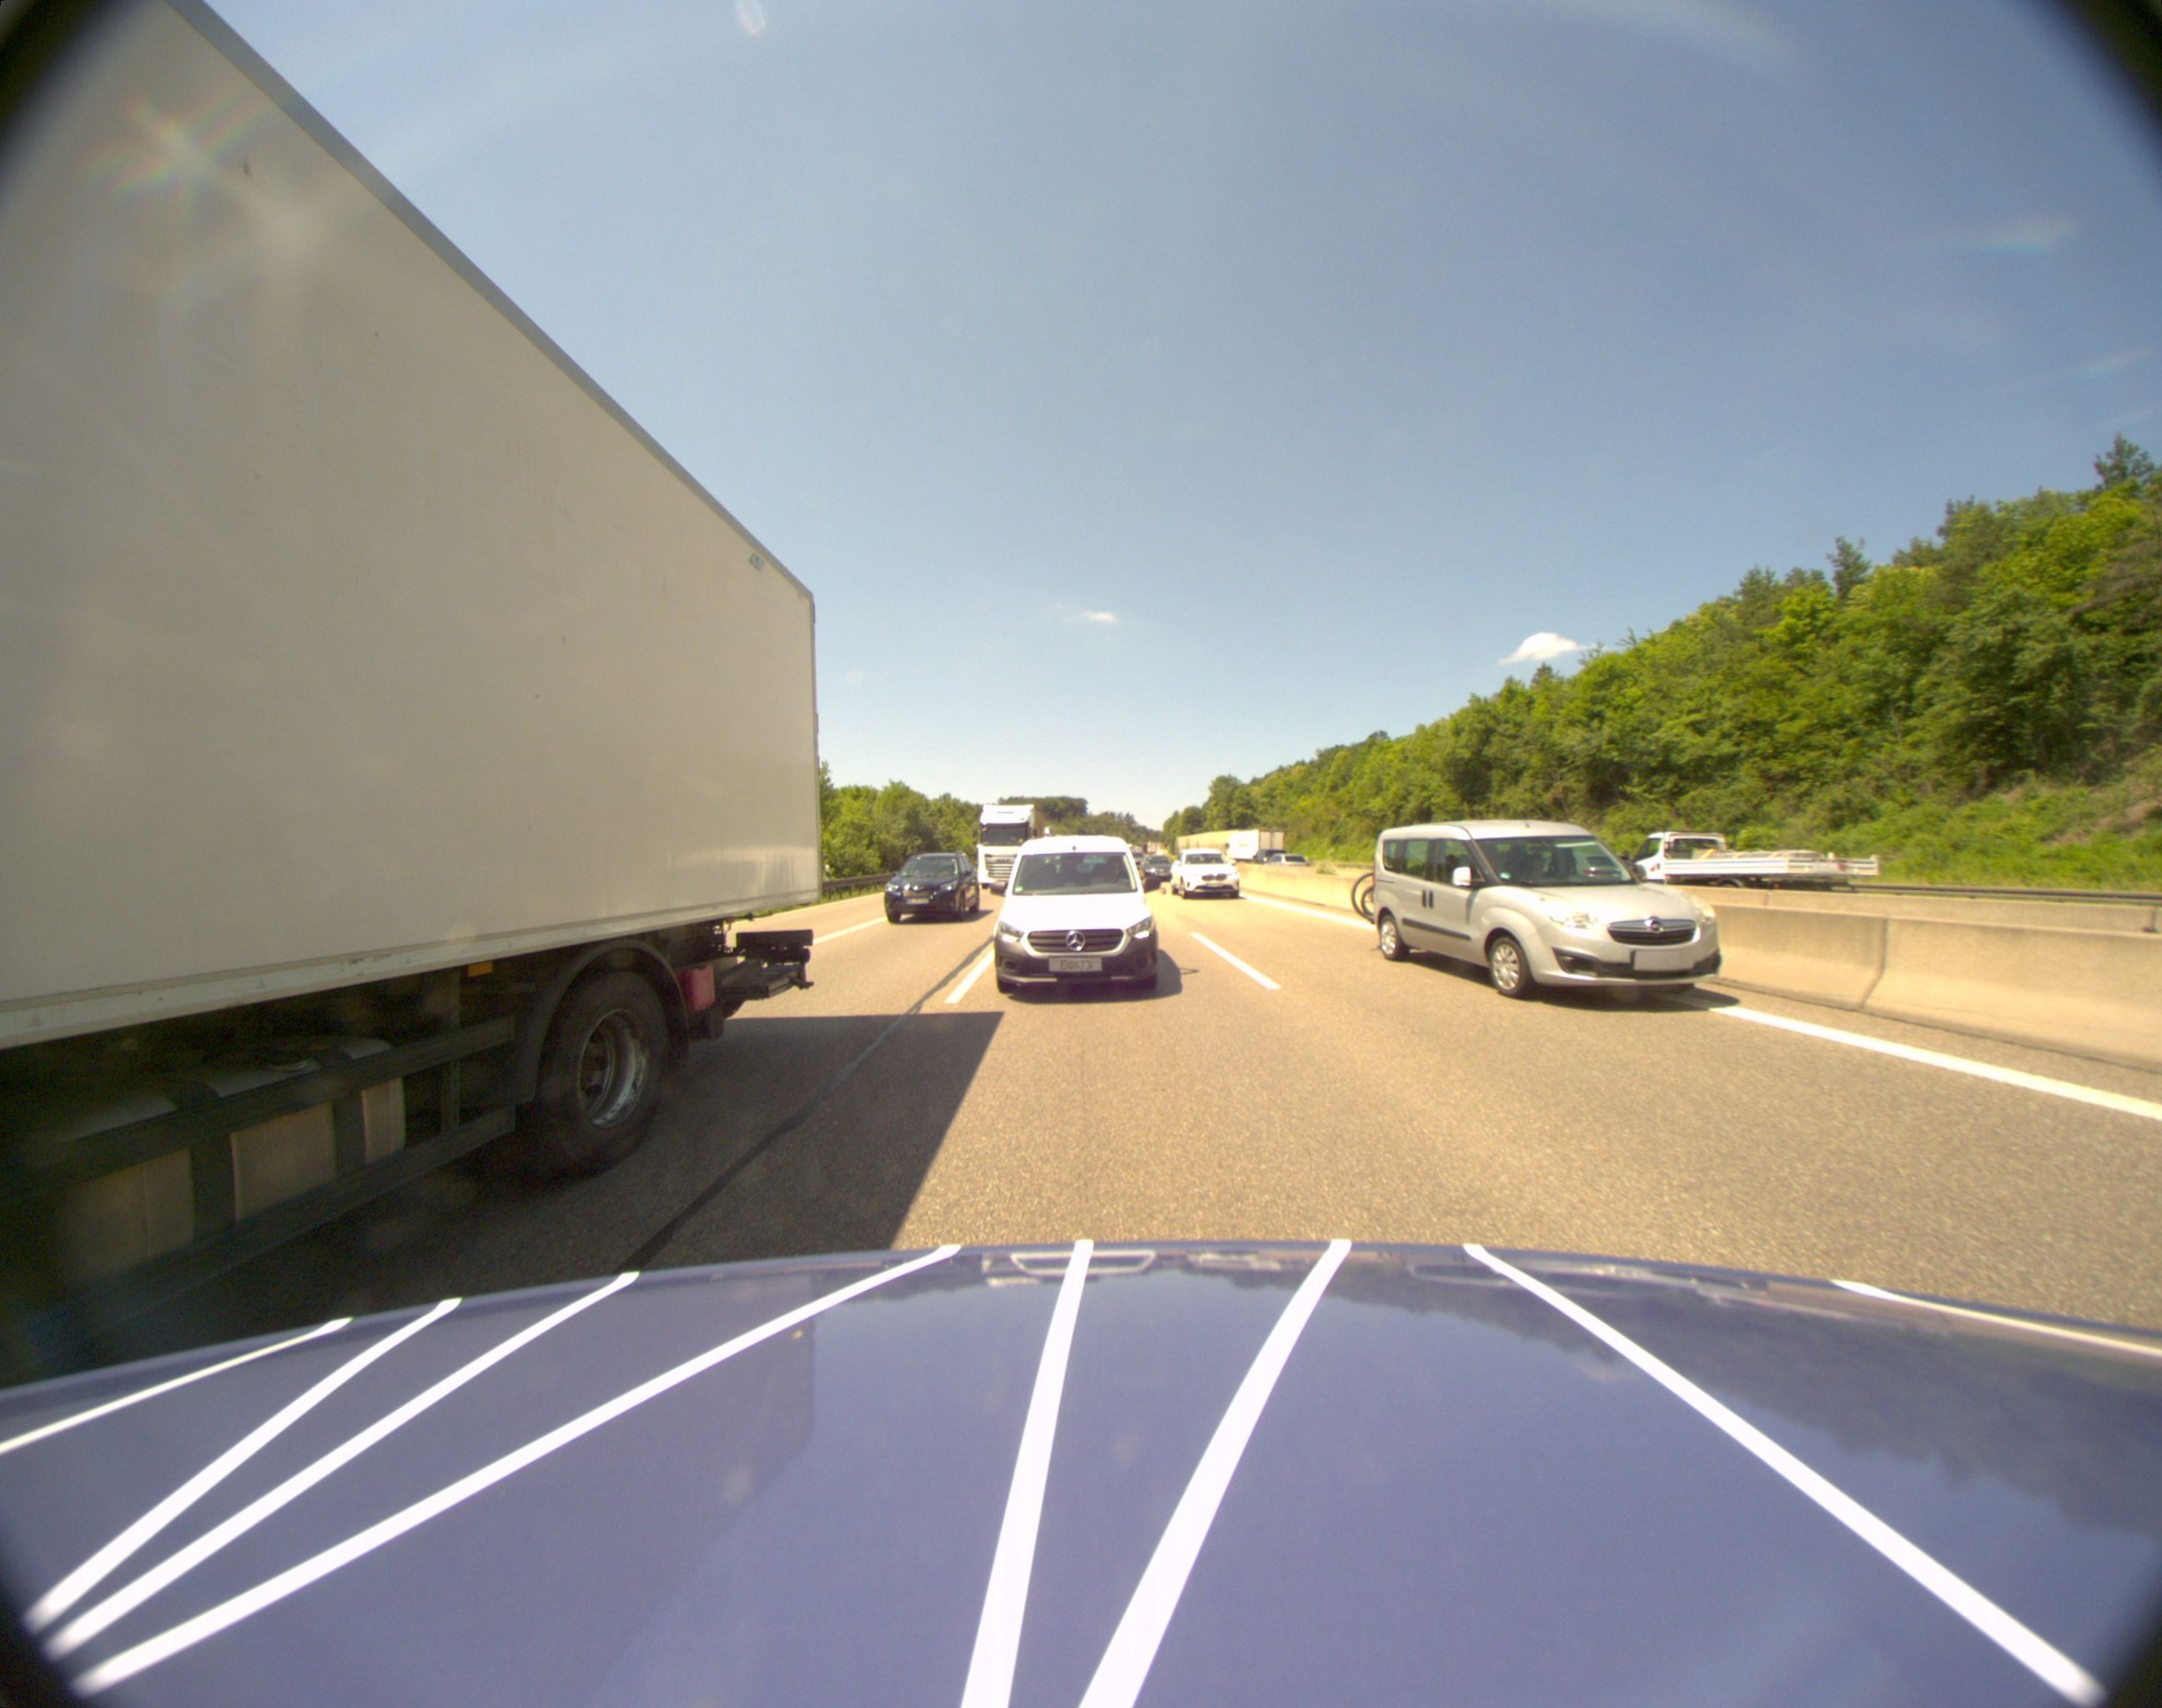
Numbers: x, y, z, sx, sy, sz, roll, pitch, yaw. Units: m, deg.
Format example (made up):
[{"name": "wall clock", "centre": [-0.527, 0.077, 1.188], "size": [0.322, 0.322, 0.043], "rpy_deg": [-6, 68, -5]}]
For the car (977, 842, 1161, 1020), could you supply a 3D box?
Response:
[{"name": "car", "centre": [-0.105, 0.722, 9.638], "size": [1.756, 1.681, 4.363], "rpy_deg": [-2, 1, 0]}]

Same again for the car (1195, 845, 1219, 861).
[{"name": "car", "centre": [14.957, -0.156, 90.372], "size": [1.999, 1.753, 4.450], "rpy_deg": [-2, 1, -1]}]

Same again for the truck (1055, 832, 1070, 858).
[{"name": "truck", "centre": [-3.090, -1.434, 128.818], "size": [2.187, 4.073, 10.868], "rpy_deg": [-1, 0, -1]}]

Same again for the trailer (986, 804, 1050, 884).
[{"name": "trailer", "centre": [-3.439, -0.614, 44.315], "size": [2.767, 4.061, 11.614], "rpy_deg": [0, 1, 0]}]

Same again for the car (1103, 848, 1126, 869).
[{"name": "car", "centre": [3.563, 0.460, 81.332], "size": [1.999, 2.002, 3.998], "rpy_deg": [-2, 1, -2]}]

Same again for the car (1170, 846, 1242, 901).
[{"name": "car", "centre": [4.248, 0.613, 26.431], "size": [1.824, 1.696, 3.999], "rpy_deg": [-2, 1, 0]}]

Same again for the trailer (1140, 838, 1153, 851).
[{"name": "trailer", "centre": [22.728, -3.276, 264.484], "size": [3.443, 4.171, 7.895], "rpy_deg": [-2, 1, 0]}]

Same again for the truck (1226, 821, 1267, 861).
[{"name": "truck", "centre": [19.164, -1.520, 88.474], "size": [2.957, 4.456, 7.516], "rpy_deg": [-2, 1, -1]}]

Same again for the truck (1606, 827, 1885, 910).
[{"name": "truck", "centre": [18.795, 0.297, 22.157], "size": [2.357, 2.002, 6.490], "rpy_deg": [-2, 1, -1]}]

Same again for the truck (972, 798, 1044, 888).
[{"name": "truck", "centre": [-3.525, -0.564, 38.735], "size": [2.766, 4.061, 7.332], "rpy_deg": [-2, 1, 1]}]

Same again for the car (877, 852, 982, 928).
[{"name": "car", "centre": [-3.793, 0.816, 19.861], "size": [1.999, 1.682, 4.609], "rpy_deg": [0, 1, -2]}]

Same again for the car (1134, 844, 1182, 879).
[{"name": "car", "centre": [4.142, 0.347, 41.374], "size": [1.999, 1.747, 3.998], "rpy_deg": [-2, 1, -2]}]

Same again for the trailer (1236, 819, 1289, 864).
[{"name": "trailer", "centre": [19.221, -1.359, 81.237], "size": [2.956, 4.456, 10.813], "rpy_deg": [-2, 1, 0]}]

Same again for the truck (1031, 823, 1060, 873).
[{"name": "truck", "centre": [-3.341, -0.517, 73.514], "size": [2.395, 4.438, 10.868], "rpy_deg": [-1, 0, -1]}]

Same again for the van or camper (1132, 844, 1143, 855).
[{"name": "van or camper", "centre": [16.698, -1.351, 223.702], "size": [2.400, 2.860, 6.709], "rpy_deg": [-2, 1, -1]}]

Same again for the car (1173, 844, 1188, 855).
[{"name": "car", "centre": [19.116, -0.952, 145.651], "size": [2.119, 2.002, 4.476], "rpy_deg": [-2, 1, -2]}]

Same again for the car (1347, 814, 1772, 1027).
[{"name": "car", "centre": [4.936, 0.520, 8.921], "size": [1.857, 1.762, 4.916], "rpy_deg": [-2, 1, 0]}]

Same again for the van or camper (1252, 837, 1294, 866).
[{"name": "van or camper", "centre": [14.057, -0.224, 55.952], "size": [1.998, 2.002, 4.927], "rpy_deg": [-2, 1, 2]}]

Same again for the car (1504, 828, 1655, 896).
[{"name": "car", "centre": [15.026, 0.178, 23.231], "size": [1.788, 1.827, 4.292], "rpy_deg": [-2, 1, 0]}]

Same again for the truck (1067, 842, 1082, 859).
[{"name": "truck", "centre": [-1.844, -0.984, 209.438], "size": [4.084, 4.403, 11.396], "rpy_deg": [-2, 0, -1]}]

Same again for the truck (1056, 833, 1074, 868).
[{"name": "truck", "centre": [-2.184, -0.437, 103.463], "size": [2.187, 4.438, 10.868], "rpy_deg": [-1, 0, -1]}]

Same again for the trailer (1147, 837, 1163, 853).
[{"name": "trailer", "centre": [19.720, -2.434, 202.751], "size": [3.005, 3.850, 11.397], "rpy_deg": [-2, 1, 0]}]

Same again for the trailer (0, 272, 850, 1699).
[{"name": "trailer", "centre": [-3.478, 0.267, 3.172], "size": [2.562, 2.882, 7.881], "rpy_deg": [-2, 0, 0]}]

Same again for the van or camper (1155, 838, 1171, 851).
[{"name": "van or camper", "centre": [15.708, -1.881, 145.091], "size": [2.000, 2.371, 4.805], "rpy_deg": [3, 1, -5]}]

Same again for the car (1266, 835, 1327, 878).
[{"name": "car", "centre": [10.987, 0.084, 39.070], "size": [1.998, 2.002, 3.999], "rpy_deg": [-2, 1, 1]}]

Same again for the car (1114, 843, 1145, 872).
[{"name": "car", "centre": [3.502, 0.262, 55.110], "size": [1.998, 2.002, 4.000], "rpy_deg": [-1, 0, 1]}]
